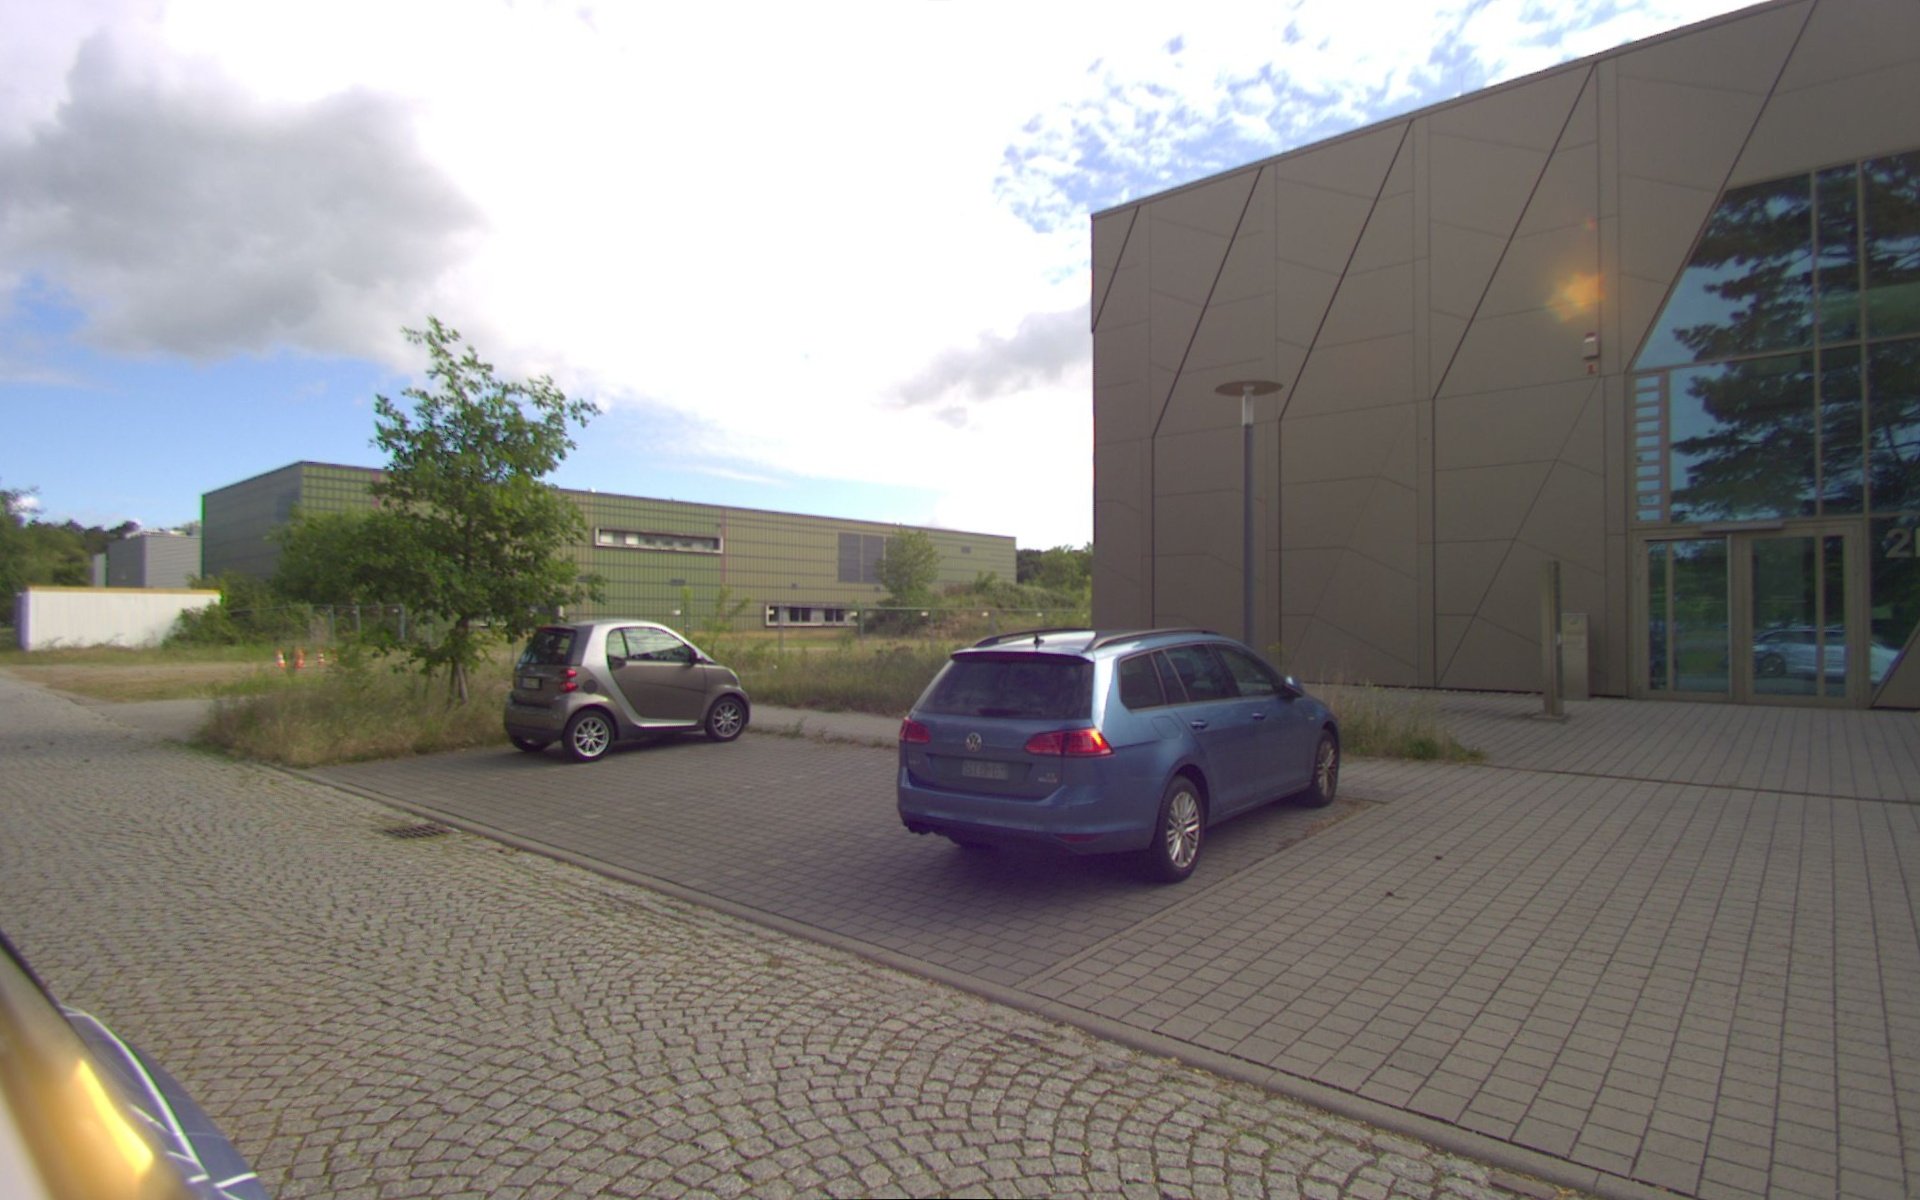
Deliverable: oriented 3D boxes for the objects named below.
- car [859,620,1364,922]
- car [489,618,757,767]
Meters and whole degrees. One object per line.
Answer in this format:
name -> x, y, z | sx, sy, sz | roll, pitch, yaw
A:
car -> 1.383, 0.913, 7.349 | 1.771, 1.439, 4.264 | -2, -1, 38
car -> -4.018, 1.014, 12.241 | 1.609, 1.523, 2.627 | -2, -1, 40
